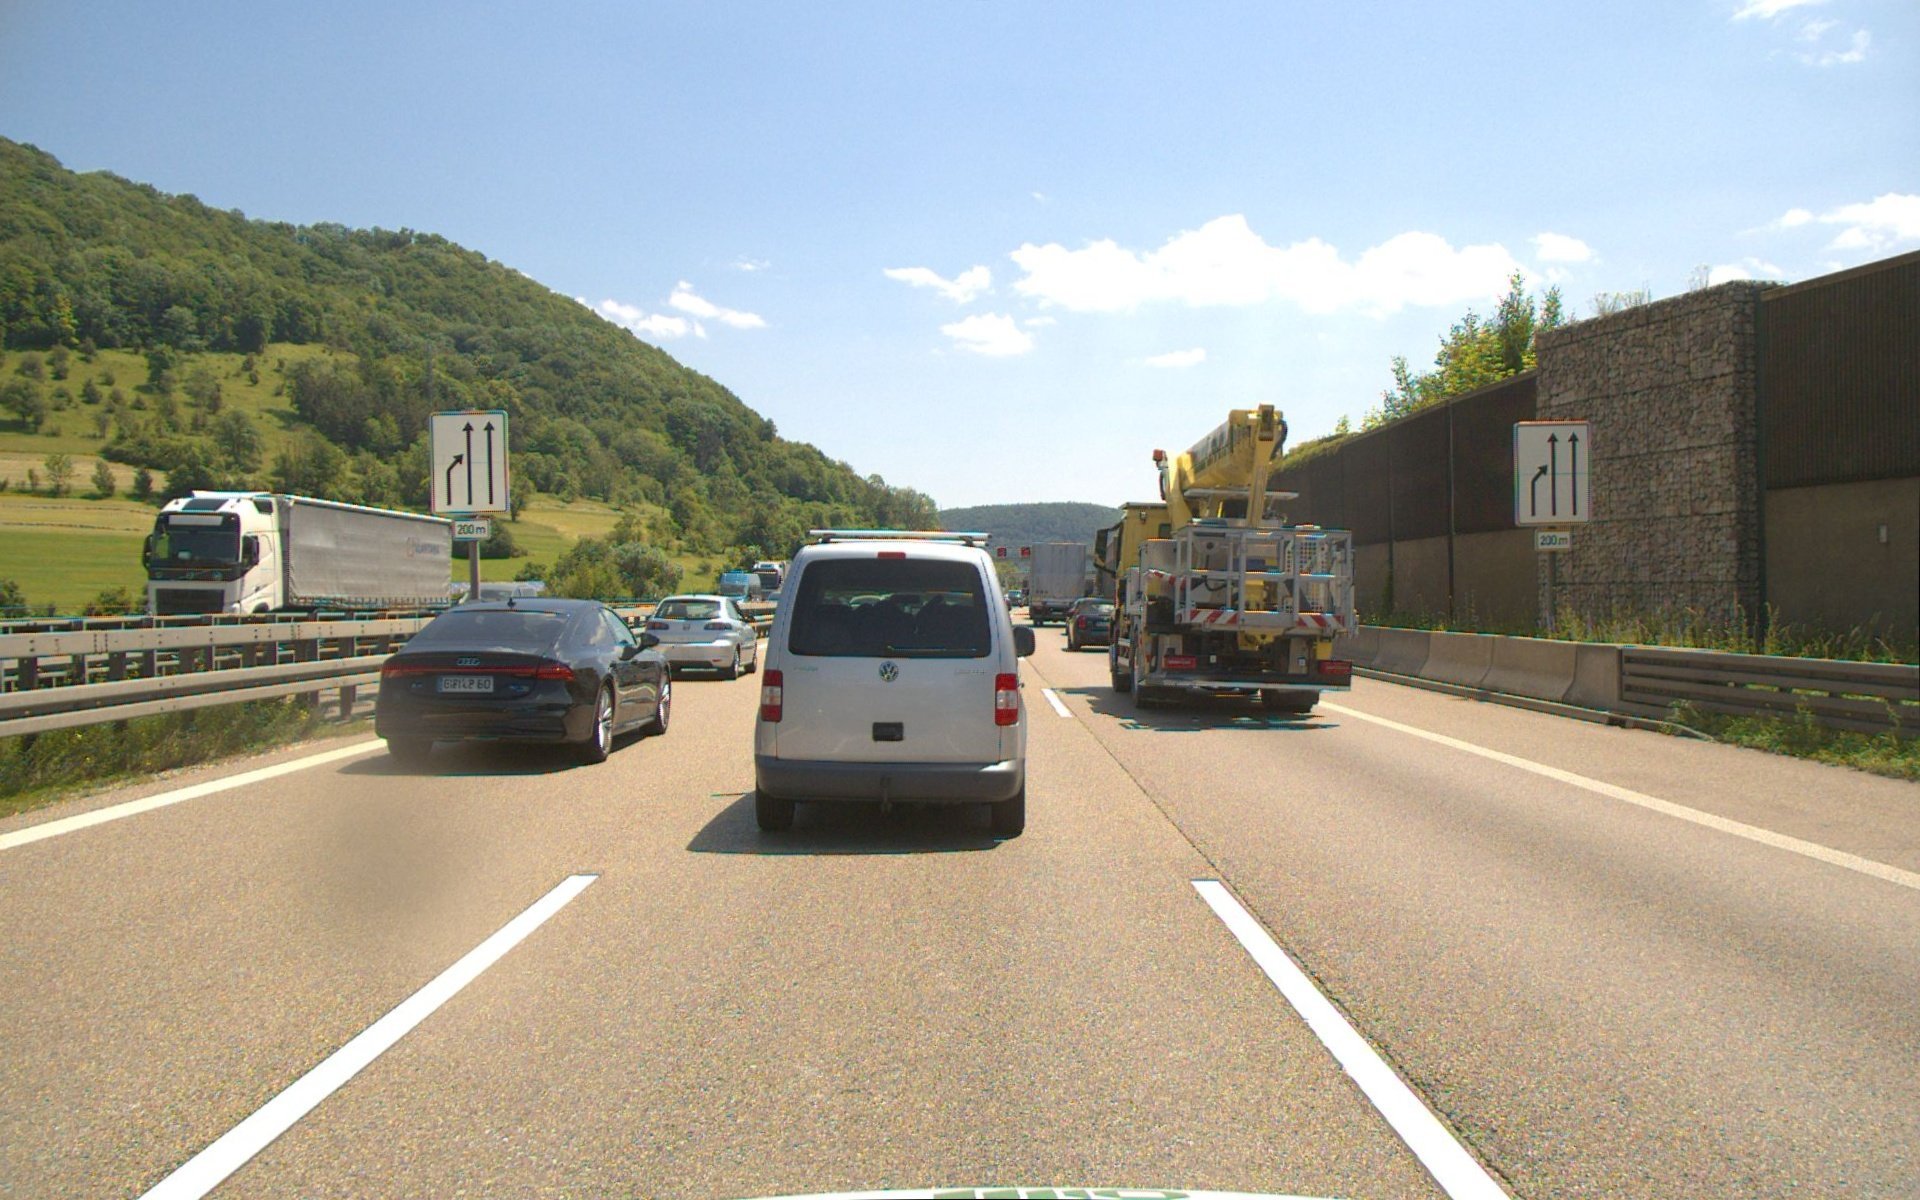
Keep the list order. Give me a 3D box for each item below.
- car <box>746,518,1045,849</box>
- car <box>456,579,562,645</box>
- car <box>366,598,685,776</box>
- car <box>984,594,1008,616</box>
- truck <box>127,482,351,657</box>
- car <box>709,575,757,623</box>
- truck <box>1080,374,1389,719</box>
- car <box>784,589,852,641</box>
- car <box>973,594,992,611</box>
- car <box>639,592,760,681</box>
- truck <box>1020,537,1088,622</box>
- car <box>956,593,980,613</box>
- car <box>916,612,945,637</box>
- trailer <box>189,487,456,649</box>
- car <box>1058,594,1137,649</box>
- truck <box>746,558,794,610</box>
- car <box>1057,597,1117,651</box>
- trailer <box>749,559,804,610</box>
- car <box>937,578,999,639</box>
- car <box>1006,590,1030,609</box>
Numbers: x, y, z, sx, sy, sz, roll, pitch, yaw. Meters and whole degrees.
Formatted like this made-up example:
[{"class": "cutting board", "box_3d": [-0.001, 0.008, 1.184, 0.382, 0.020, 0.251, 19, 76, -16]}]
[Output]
[{"class": "car", "box_3d": [-0.452, 0.475, 11.552, 1.721, 1.900, 3.998, 0, 0, -2]}, {"class": "car", "box_3d": [-13.609, 0.338, 50.194, 1.952, 1.885, 4.407, 1, 0, 0]}, {"class": "car", "box_3d": [-3.901, 0.697, 15.769, 1.764, 1.415, 4.969, 0, 0, -1]}, {"class": "car", "box_3d": [3.010, 0.449, 139.723, 1.952, 1.779, 4.000, 1, 0, 0]}, {"class": "truck", "box_3d": [-19.189, -0.737, 44.580, 2.740, 4.306, 7.231, 1, 0, 0]}, {"class": "car", "box_3d": [-14.330, -0.035, 104.635, 2.111, 2.912, 6.398, 1, 0, 0]}, {"class": "truck", "box_3d": [3.530, -0.637, 23.690, 2.650, 4.011, 8.717, 0, 0, -2]}, {"class": "car", "box_3d": [-4.313, 0.437, 50.667, 1.886, 1.525, 3.998, 1, 0, -2]}, {"class": "car", "box_3d": [2.526, 0.235, 183.687, 1.953, 1.837, 3.999, 1, 0, -1]}, {"class": "car", "box_3d": [-4.541, 0.602, 29.318, 1.661, 1.470, 3.860, 0, 0, -2]}, {"class": "truck", "box_3d": [4.542, -0.934, 81.365, 2.880, 3.890, 8.236, 1, 0, 0]}, {"class": "car", "box_3d": [0.724, 0.261, 158.388, 2.072, 1.859, 3.998, 1, 0, -3]}, {"class": "car", "box_3d": [-2.252, 1.844, 126.680, 2.071, 1.859, 4.000, 1, 0, 0]}, {"class": "trailer", "box_3d": [-19.077, -0.810, 50.942, 2.796, 4.264, 13.615, 1, 0, 0]}, {"class": "car", "box_3d": [3.815, 0.582, 46.396, 1.750, 1.484, 3.769, 0, 0, -2]}, {"class": "truck", "box_3d": [-16.091, -1.324, 140.228, 3.211, 4.220, 6.954, 1, 0, 0]}, {"class": "car", "box_3d": [4.933, 0.897, 64.580, 1.953, 2.049, 3.999, 0, 0, -1]}, {"class": "trailer", "box_3d": [-16.092, -1.293, 145.921, 3.180, 4.278, 13.000, 1, 0, 1]}, {"class": "car", "box_3d": [0.245, 0.284, 56.669, 1.953, 2.010, 3.998, 0, 0, -3]}, {"class": "car", "box_3d": [5.738, -0.065, 165.122, 2.072, 1.859, 3.998, 1, 0, -3]}]
